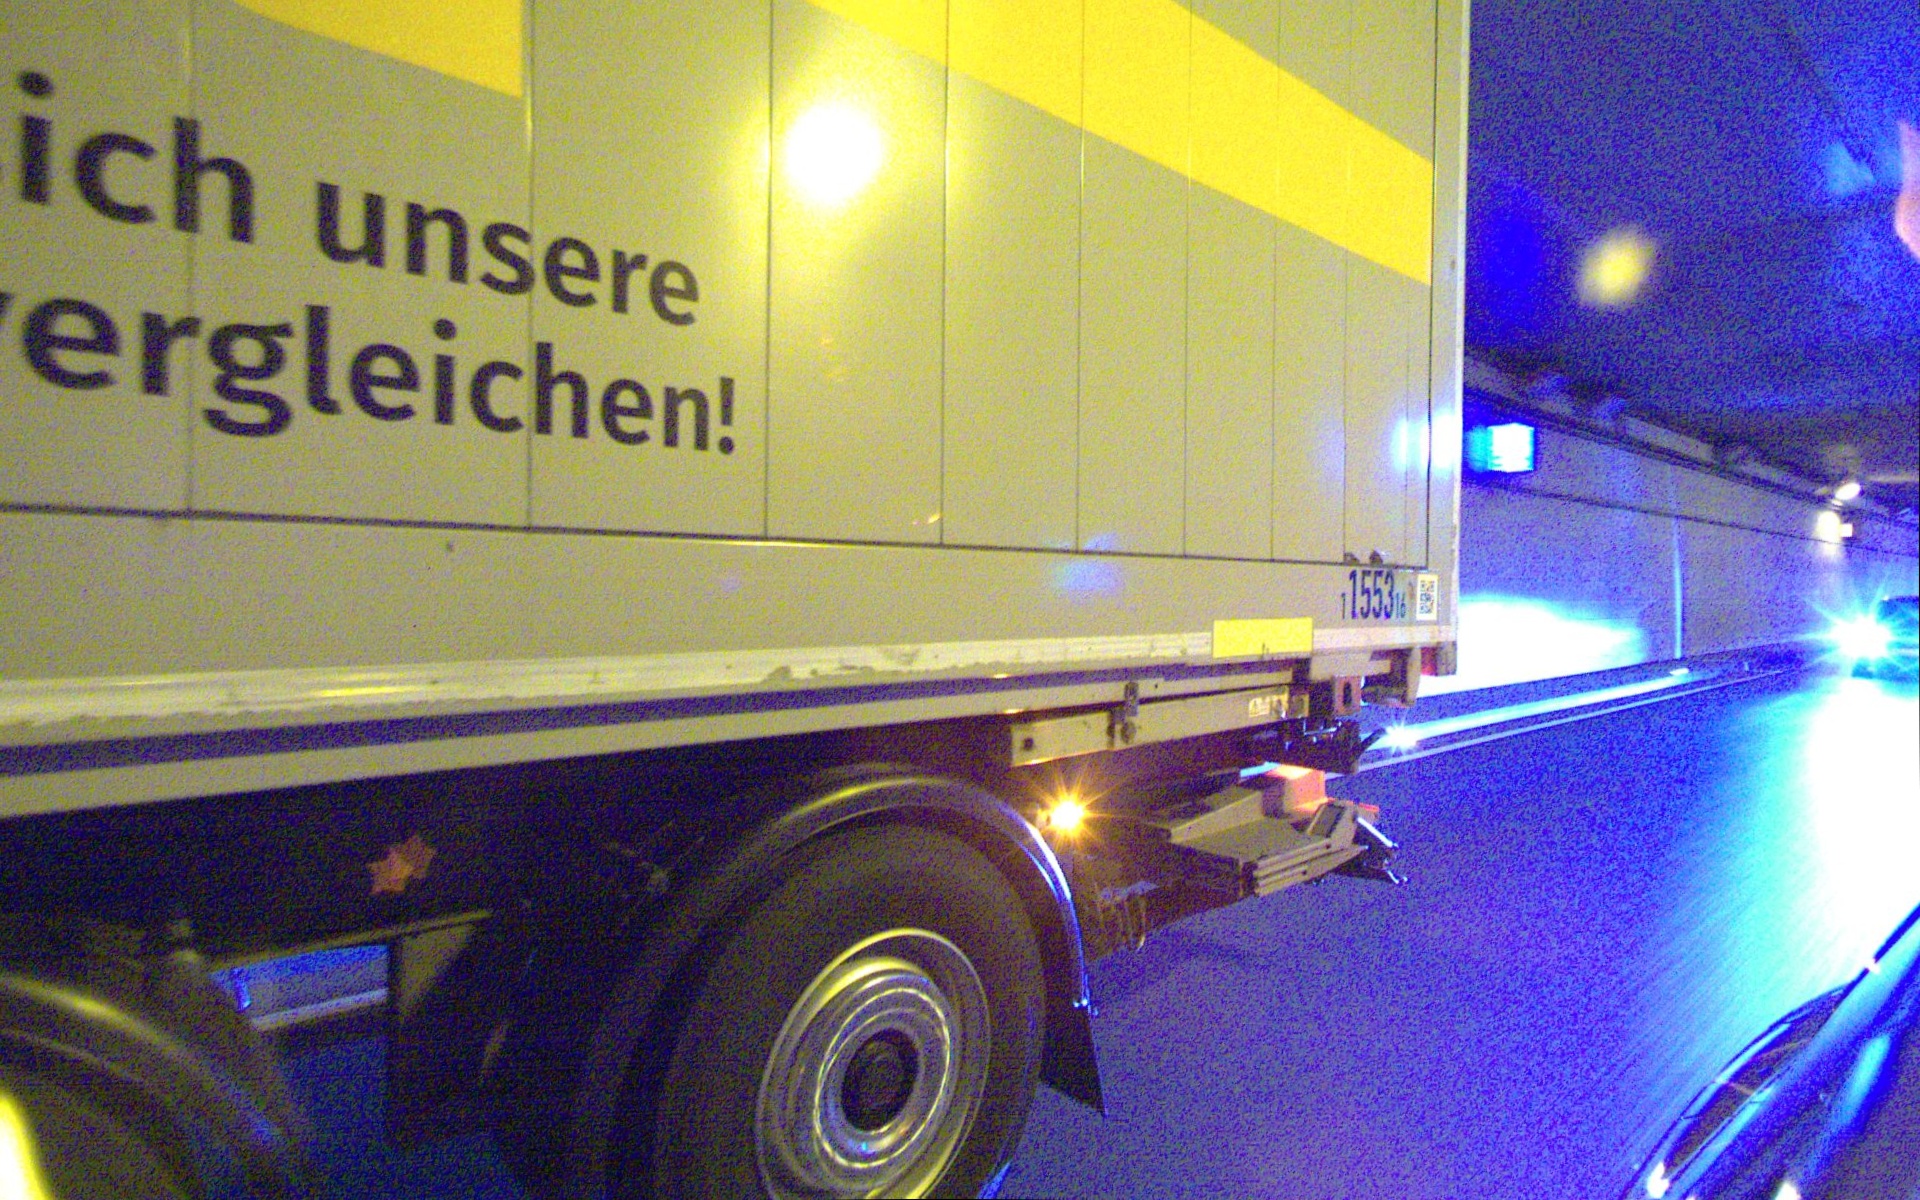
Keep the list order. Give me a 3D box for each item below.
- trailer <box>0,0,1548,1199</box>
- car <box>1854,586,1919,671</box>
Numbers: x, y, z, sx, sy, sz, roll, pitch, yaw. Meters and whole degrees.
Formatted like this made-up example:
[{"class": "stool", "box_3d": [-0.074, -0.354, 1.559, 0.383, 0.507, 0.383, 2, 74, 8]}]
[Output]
[{"class": "trailer", "box_3d": [-2.208, -0.584, 1.757, 8.791, 3.907, 2.880, 0, 0, -41]}, {"class": "car", "box_3d": [17.789, 0.465, 18.498, 3.733, 1.420, 1.733, -1, 1, -41]}]
